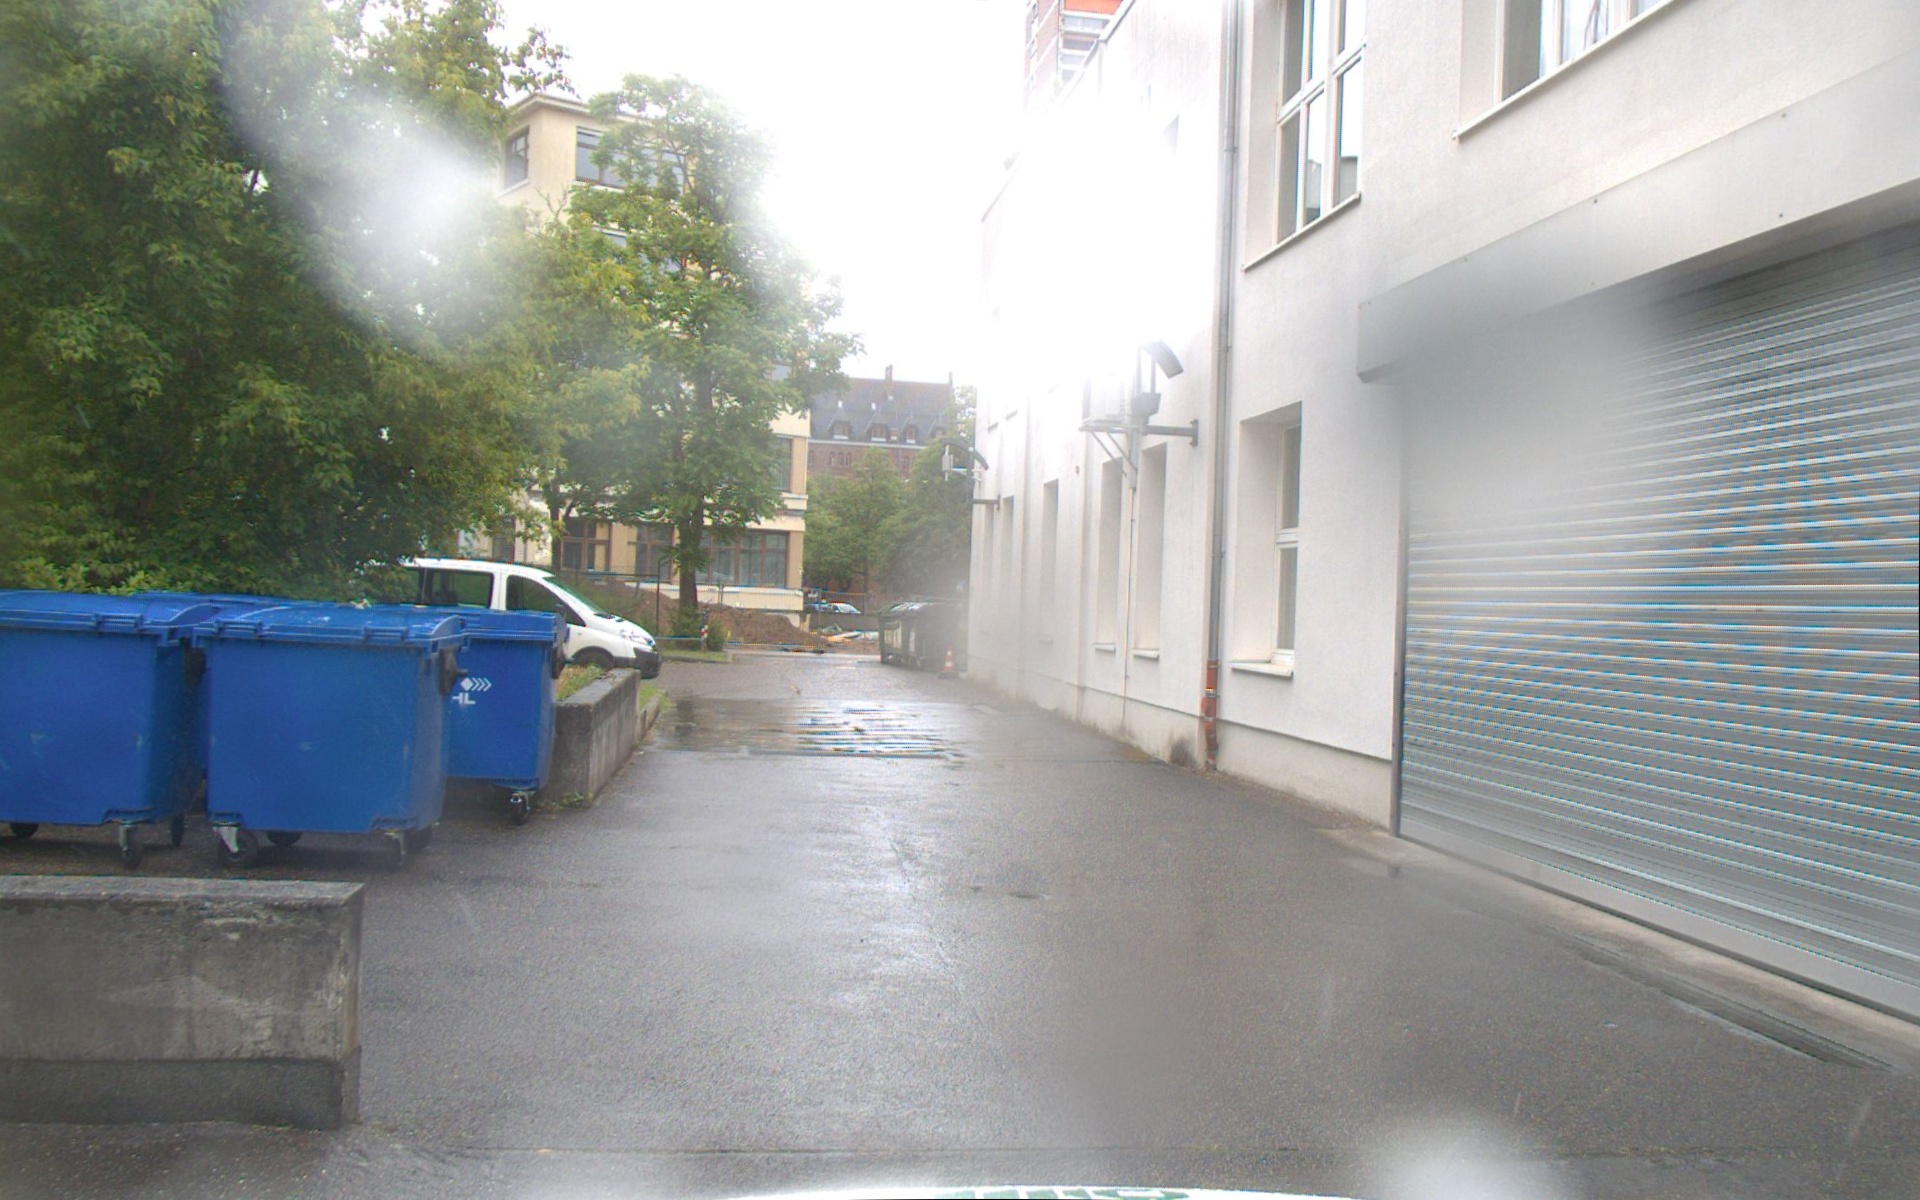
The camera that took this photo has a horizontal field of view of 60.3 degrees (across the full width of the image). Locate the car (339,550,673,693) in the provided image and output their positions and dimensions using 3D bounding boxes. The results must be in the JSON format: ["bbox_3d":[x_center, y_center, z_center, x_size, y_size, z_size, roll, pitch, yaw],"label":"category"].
[{"bbox_3d":[-6.895,0.315,25.578,4.689,2.049,1.997,1,0,-7],"label":"car"}]

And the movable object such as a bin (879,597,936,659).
[{"bbox_3d":[-1.292,0.701,40.586,1.192,1.462,1.256,2,-2,-10],"label":"movable object such as a bin"}]

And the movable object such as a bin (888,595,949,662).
[{"bbox_3d":[-0.956,0.669,37.598,1.192,1.462,1.291,2,-2,-10],"label":"movable object such as a bin"}]

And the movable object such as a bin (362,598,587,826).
[{"bbox_3d":[-3.086,0.692,10.648,1.198,1.360,1.005,2,0,-7],"label":"movable object such as a bin"}]

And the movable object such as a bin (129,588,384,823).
[{"bbox_3d":[-4.358,0.631,10.353,1.198,1.360,1.005,2,1,-7],"label":"movable object such as a bin"}]

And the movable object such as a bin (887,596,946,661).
[{"bbox_3d":[-1.045,0.690,39.234,1.192,1.494,1.233,2,-2,-10],"label":"movable object such as a bin"}]

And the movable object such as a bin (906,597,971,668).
[{"bbox_3d":[-0.481,0.716,35.961,1.192,1.462,1.233,2,-2,-10],"label":"movable object such as a bin"}]

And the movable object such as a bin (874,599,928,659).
[{"bbox_3d":[-1.502,0.749,41.946,1.192,1.462,1.256,2,-2,-10],"label":"movable object such as a bin"}]

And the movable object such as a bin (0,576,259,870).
[{"bbox_3d":[-4.498,0.604,8.677,1.180,1.360,1.115,3,1,-7],"label":"movable object such as a bin"}]

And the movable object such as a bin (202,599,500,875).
[{"bbox_3d":[-3.218,0.695,8.884,1.179,1.360,1.116,2,-1,-4],"label":"movable object such as a bin"}]
